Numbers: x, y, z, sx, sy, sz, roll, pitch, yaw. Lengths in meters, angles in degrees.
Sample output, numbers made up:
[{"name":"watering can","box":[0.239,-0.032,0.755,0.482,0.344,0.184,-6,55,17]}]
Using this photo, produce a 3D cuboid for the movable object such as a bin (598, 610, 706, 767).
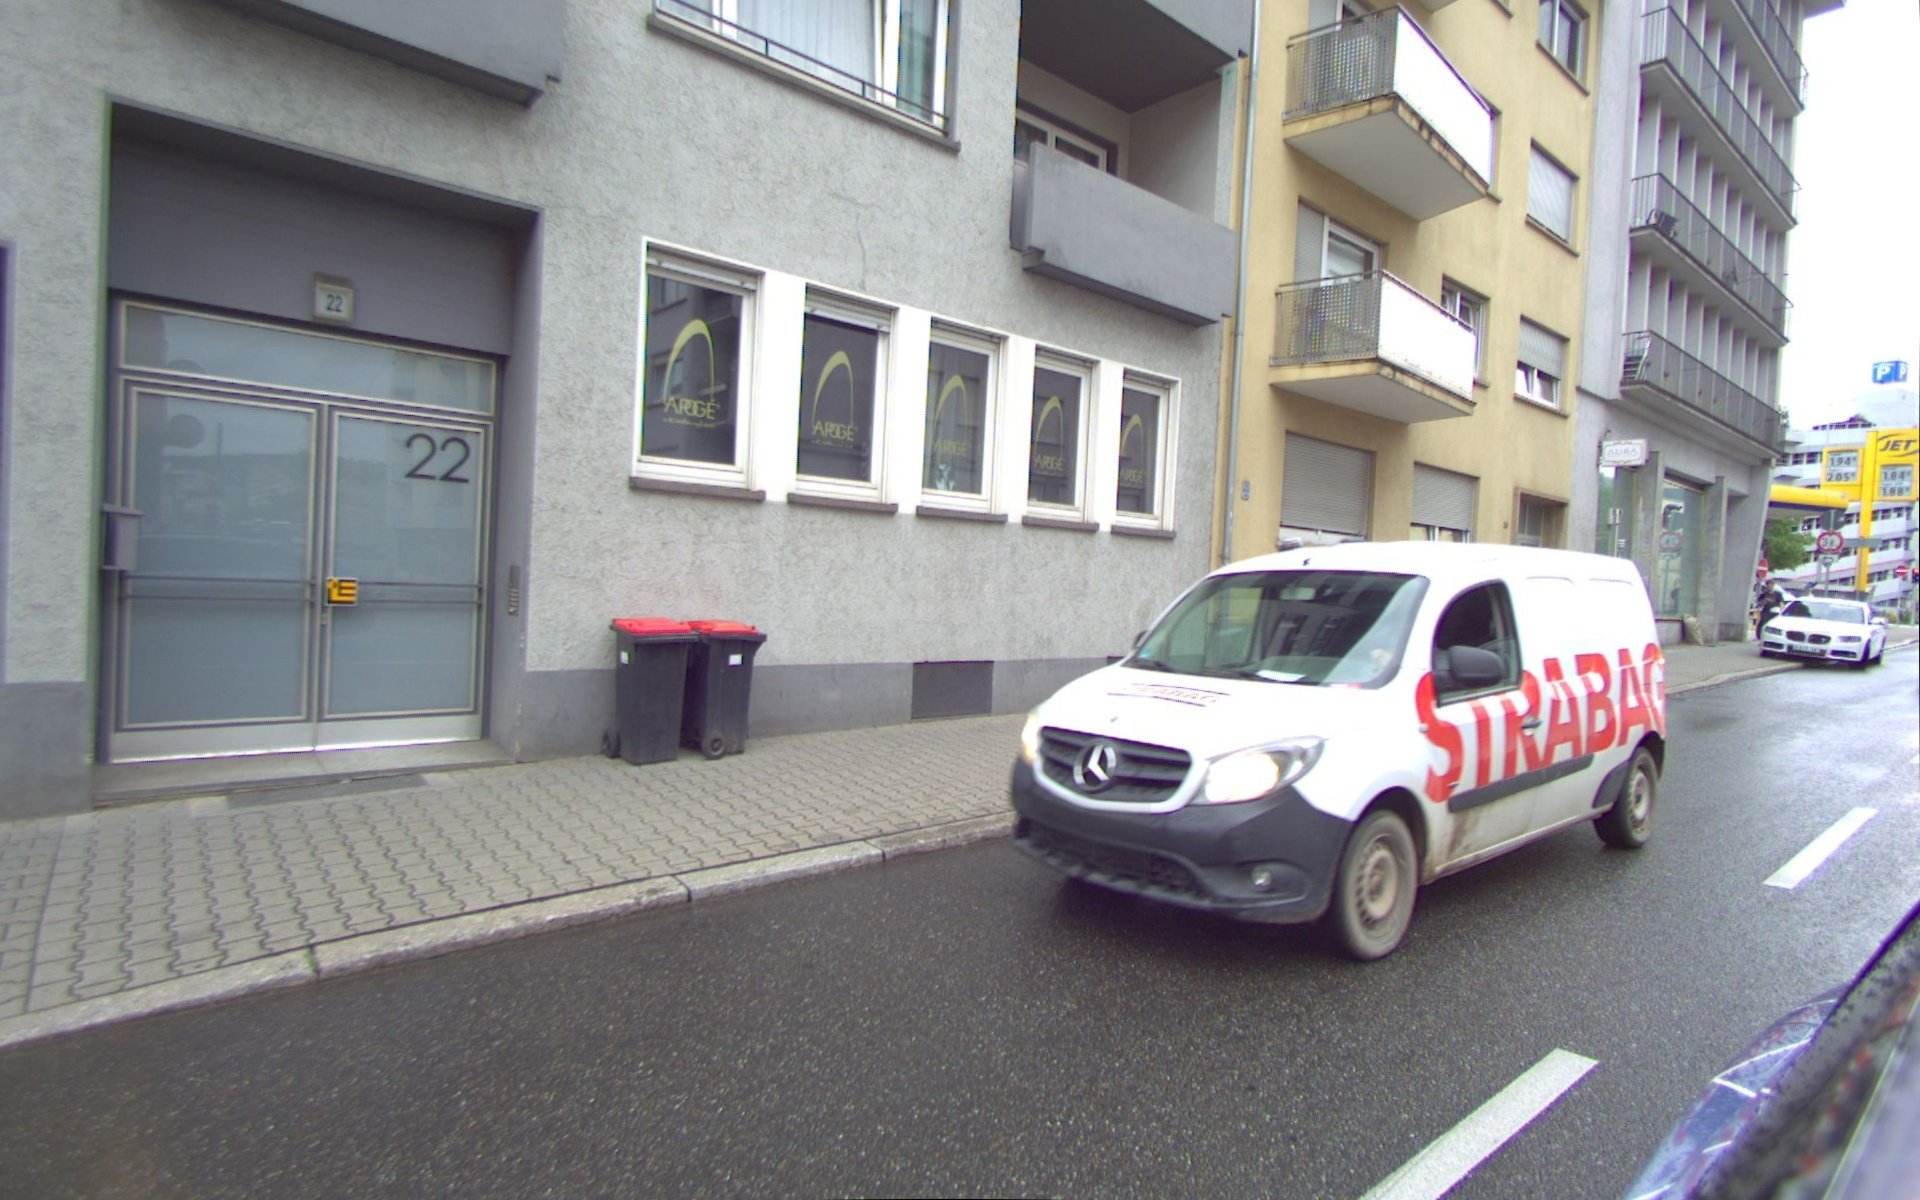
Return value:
[{"name":"movable object such as a bin","box":[-2.108,0.578,6.921,0.506,0.967,0.541,0,5,-40]}]

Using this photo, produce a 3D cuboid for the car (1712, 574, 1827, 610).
[{"name":"car","box":[35.310,-0.334,44.296,1.738,1.493,4.001,0,0,-2]}]

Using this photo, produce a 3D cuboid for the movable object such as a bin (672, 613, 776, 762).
[{"name":"movable object such as a bin","box":[-1.695,0.602,7.250,0.506,0.961,0.541,0,5,-40]}]

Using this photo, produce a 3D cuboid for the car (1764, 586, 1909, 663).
[{"name":"car","box":[19.502,0.485,22.461,4.093,1.453,1.803,0,4,-41]}]

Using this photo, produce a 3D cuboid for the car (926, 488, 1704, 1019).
[{"name":"car","box":[2.253,0.497,5.652,4.660,1.797,1.945,0,1,-39]}]

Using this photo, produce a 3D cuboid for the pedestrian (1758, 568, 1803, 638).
[{"name":"pedestrian","box":[21.535,0.074,26.564,0.872,1.777,0.679,0,2,-39]}]
